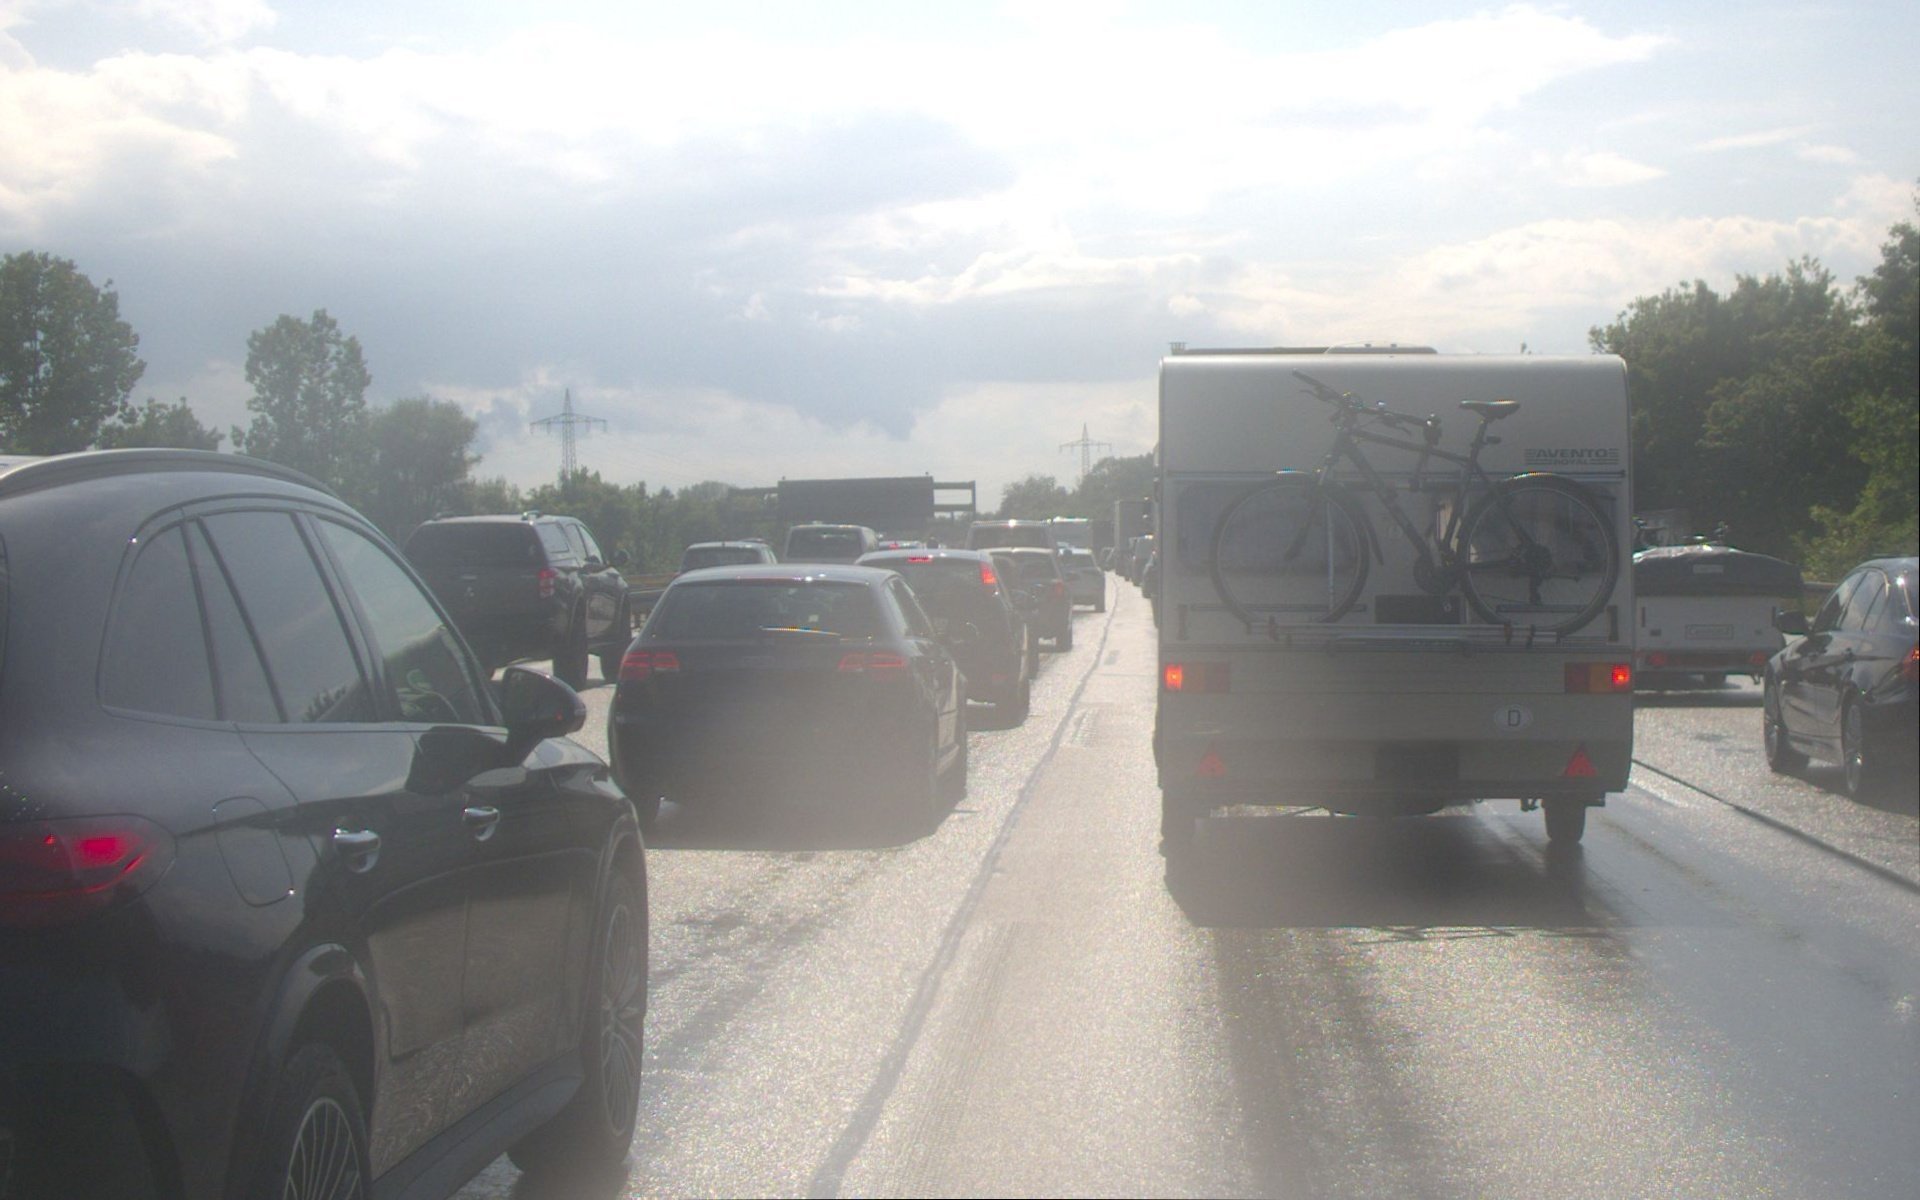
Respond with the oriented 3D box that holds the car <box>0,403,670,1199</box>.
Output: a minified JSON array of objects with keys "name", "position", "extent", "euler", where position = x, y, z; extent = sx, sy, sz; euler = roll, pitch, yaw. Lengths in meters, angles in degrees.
[{"name":"car","position":[-1.868,0.565,6.421],"extent":[1.994,1.656,4.405],"euler":[0,1,4]}]

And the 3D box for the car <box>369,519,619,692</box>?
[{"name":"car","position":[-4.883,0.031,36.536],"extent":[1.993,1.714,4.000],"euler":[1,1,2]}]

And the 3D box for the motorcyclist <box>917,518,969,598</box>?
[{"name":"motorcyclist","position":[-0.358,-0.901,74.160],"extent":[1.064,1.712,0.785],"euler":[0,1,4]}]

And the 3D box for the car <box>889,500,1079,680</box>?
[{"name":"car","position":[0.336,-0.146,40.798],"extent":[1.994,2.007,4.000],"euler":[1,1,4]}]

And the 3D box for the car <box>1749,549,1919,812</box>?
[{"name":"car","position":[5.937,0.408,20.559],"extent":[1.740,1.415,3.835],"euler":[0,1,3]}]

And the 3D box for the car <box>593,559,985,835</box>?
[{"name":"car","position":[-0.860,0.475,19.513],"extent":[1.757,1.382,3.944],"euler":[0,1,4]}]

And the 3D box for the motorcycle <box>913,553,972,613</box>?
[{"name":"motorcycle","position":[-0.363,-0.373,74.091],"extent":[1.074,1.267,2.690],"euler":[0,1,4]}]

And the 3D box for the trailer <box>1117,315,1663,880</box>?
[{"name":"trailer","position":[2.060,-0.055,18.448],"extent":[2.374,2.475,6.522],"euler":[1,1,3]}]

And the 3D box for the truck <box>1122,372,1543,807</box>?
[{"name":"truck","position":[2.276,-0.099,22.565],"extent":[2.374,2.468,5.755],"euler":[1,1,3]}]

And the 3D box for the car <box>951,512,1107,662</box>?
[{"name":"car","position":[1.059,-0.213,50.754],"extent":[1.994,2.007,4.000],"euler":[4,1,4]}]

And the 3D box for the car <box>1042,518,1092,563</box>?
[{"name":"car","position":[4.288,-2.369,137.922],"extent":[1.876,1.754,4.000],"euler":[1,1,0]}]

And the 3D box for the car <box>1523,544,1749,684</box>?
[{"name":"car","position":[7.362,0.115,37.799],"extent":[1.855,1.437,4.258],"euler":[0,1,3]}]

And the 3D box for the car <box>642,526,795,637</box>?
[{"name":"car","position":[-3.957,-0.321,56.946],"extent":[1.994,1.766,4.000],"euler":[0,1,4]}]

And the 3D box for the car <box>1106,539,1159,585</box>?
[{"name":"car","position":[6.681,-1.489,133.619],"extent":[1.876,1.754,4.000],"euler":[1,1,0]}]

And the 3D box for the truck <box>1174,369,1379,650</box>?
[{"name":"truck","position":[4.924,-1.380,53.509],"extent":[2.996,4.152,5.239],"euler":[0,1,5]}]

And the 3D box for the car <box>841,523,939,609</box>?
[{"name":"car","position":[-1.673,-0.830,83.301],"extent":[1.994,2.007,4.000],"euler":[-1,1,4]}]

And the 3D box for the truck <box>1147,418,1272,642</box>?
[{"name":"truck","position":[5.598,-1.558,78.132],"extent":[2.502,4.813,7.543],"euler":[1,1,2]}]

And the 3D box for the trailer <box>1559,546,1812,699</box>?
[{"name":"trailer","position":[7.191,0.180,34.460],"extent":[1.855,1.437,4.147],"euler":[0,1,3]}]

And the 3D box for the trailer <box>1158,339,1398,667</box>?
[{"name":"trailer","position":[4.428,-1.296,47.994],"extent":[3.007,4.152,8.534],"euler":[0,1,5]}]

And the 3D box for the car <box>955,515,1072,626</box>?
[{"name":"car","position":[1.029,-0.569,64.533],"extent":[1.994,2.007,4.000],"euler":[0,1,4]}]

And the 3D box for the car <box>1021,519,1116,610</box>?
[{"name":"car","position":[2.529,-0.833,79.219],"extent":[1.994,2.007,4.000],"euler":[-1,1,4]}]

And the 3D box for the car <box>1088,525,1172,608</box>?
[{"name":"car","position":[4.314,-0.851,86.945],"extent":[1.994,2.007,4.000],"euler":[2,1,4]}]

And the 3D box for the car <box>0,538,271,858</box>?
[{"name":"car","position":[-5.118,0.428,18.354],"extent":[1.757,1.511,4.208],"euler":[0,1,4]}]

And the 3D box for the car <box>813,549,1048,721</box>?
[{"name":"car","position":[-0.196,0.267,30.390],"extent":[1.806,1.402,4.000],"euler":[1,1,3]}]

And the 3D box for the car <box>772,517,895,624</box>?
[{"name":"car","position":[-2.560,-0.616,70.274],"extent":[1.994,2.007,4.000],"euler":[4,1,4]}]
